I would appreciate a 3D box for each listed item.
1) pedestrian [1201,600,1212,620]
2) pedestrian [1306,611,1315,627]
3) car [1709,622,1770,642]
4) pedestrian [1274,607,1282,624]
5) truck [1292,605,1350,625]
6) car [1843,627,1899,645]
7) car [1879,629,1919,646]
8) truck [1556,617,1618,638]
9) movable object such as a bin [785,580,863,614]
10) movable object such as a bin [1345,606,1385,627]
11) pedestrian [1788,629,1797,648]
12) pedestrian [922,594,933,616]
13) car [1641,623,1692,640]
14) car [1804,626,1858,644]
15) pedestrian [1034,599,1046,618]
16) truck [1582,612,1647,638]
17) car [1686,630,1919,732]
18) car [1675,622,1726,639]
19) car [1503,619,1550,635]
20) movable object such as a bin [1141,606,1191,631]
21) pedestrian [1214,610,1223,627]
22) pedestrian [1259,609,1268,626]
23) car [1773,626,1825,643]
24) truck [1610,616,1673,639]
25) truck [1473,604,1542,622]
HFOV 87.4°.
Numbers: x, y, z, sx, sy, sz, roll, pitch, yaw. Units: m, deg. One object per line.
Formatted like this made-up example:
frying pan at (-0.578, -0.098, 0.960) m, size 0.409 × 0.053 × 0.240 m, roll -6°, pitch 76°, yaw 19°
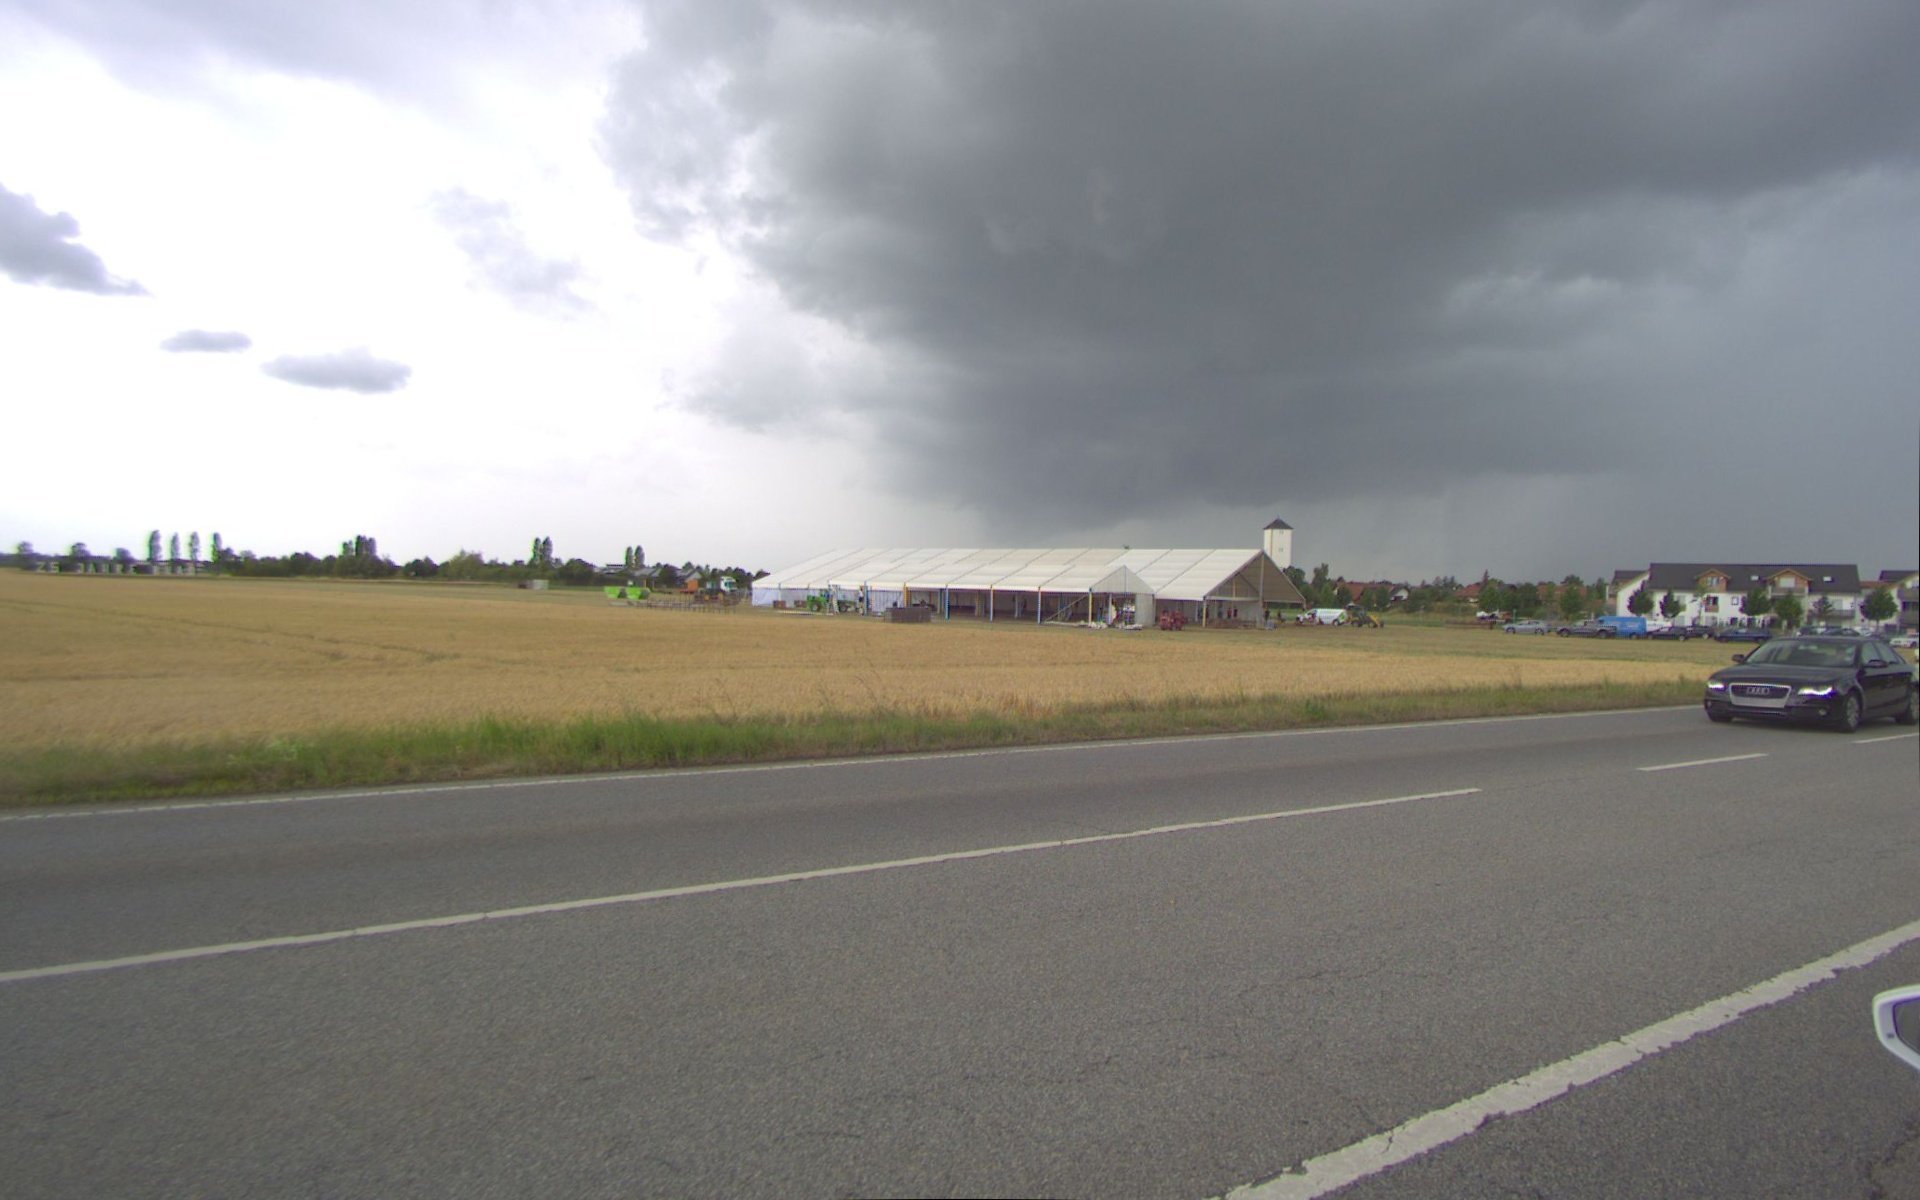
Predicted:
pedestrian at (26.133, 1.037, 106.470) m, size 0.861 × 2.040 × 0.767 m, roll 2°, pitch 0°, yaw 28°
pedestrian at (39.318, 2.099, 112.721) m, size 0.680 × 1.799 × 0.691 m, roll 2°, pitch 0°, yaw 42°
car at (76.579, 3.105, 98.752) m, size 4.656 × 1.719 × 1.992 m, roll 2°, pitch 0°, yaw 38°
pedestrian at (35.369, 1.731, 111.862) m, size 0.616 × 1.890 × 0.706 m, roll 2°, pitch 0°, yaw 35°
truck at (42.836, 1.759, 119.237) m, size 5.957 × 2.246 × 2.715 m, roll 2°, pitch 0°, yaw 31°
car at (86.905, 3.458, 95.876) m, size 4.140 × 1.556 × 1.994 m, roll 1°, pitch 0°, yaw -14°
car at (88.005, 3.526, 93.311) m, size 4.140 × 1.465 × 1.994 m, roll 1°, pitch 0°, yaw -14°
truck at (62.656, 2.716, 100.412) m, size 5.152 × 1.946 × 2.107 m, roll 2°, pitch 0°, yaw 32°
movable object such as a bin at (-14.445, -0.325, 106.712) m, size 7.461 × 3.219 × 4.143 m, roll 3°, pitch 1°, yaw 37°
movable object such as a bin at (45.633, 1.836, 113.264) m, size 3.926 × 2.273 × 1.882 m, roll 2°, pitch 0°, yaw 30°
pedestrian at (71.341, 3.309, 86.059) m, size 0.582 × 1.576 × 0.623 m, roll 2°, pitch 0°, yaw 39°
pedestrian at (-3.088, 0.496, 96.381) m, size 1.005 × 2.040 × 0.806 m, roll 2°, pitch 0°, yaw -2°
car at (71.836, 3.206, 102.171) m, size 4.103 × 1.539 × 1.992 m, roll 2°, pitch 0°, yaw 38°
car at (85.634, 3.421, 98.801) m, size 4.140 × 1.650 × 1.994 m, roll 1°, pitch 0°, yaw -14°
pedestrian at (8.780, 0.927, 110.021) m, size 0.930 × 2.130 × 0.860 m, roll 2°, pitch 0°, yaw -32°
truck at (66.524, 2.502, 102.145) m, size 5.375 × 2.478 × 2.386 m, roll 2°, pitch 0°, yaw 35°
car at (13.812, 1.232, 16.255) m, size 4.374 × 1.429 × 1.817 m, roll 2°, pitch -1°, yaw -32°
car at (82.299, 3.406, 111.665) m, size 4.567 × 1.719 × 1.992 m, roll 2°, pitch 0°, yaw 38°
car at (60.235, 2.840, 106.852) m, size 4.233 × 1.481 × 1.887 m, roll 2°, pitch 0°, yaw 32°
movable object such as a bin at (17.240, 1.545, 83.969) m, size 2.554 × 1.889 × 4.460 m, roll 2°, pitch 0°, yaw 34°
pedestrian at (27.703, 1.960, 107.782) m, size 0.717 × 1.803 × 0.760 m, roll 2°, pitch 0°, yaw 1°
pedestrian at (32.558, 1.916, 107.704) m, size 0.679 × 1.799 × 0.693 m, roll 2°, pitch 0°, yaw 34°
car at (85.790, 3.508, 102.703) m, size 4.140 × 1.650 × 1.994 m, roll 1°, pitch 0°, yaw -14°
truck at (72.381, 2.892, 106.727) m, size 5.490 × 2.226 × 2.599 m, roll 2°, pitch 0°, yaw 35°
truck at (85.646, 2.001, 157.394) m, size 3.259 × 2.563 × 9.307 m, roll 2°, pitch 0°, yaw -28°
